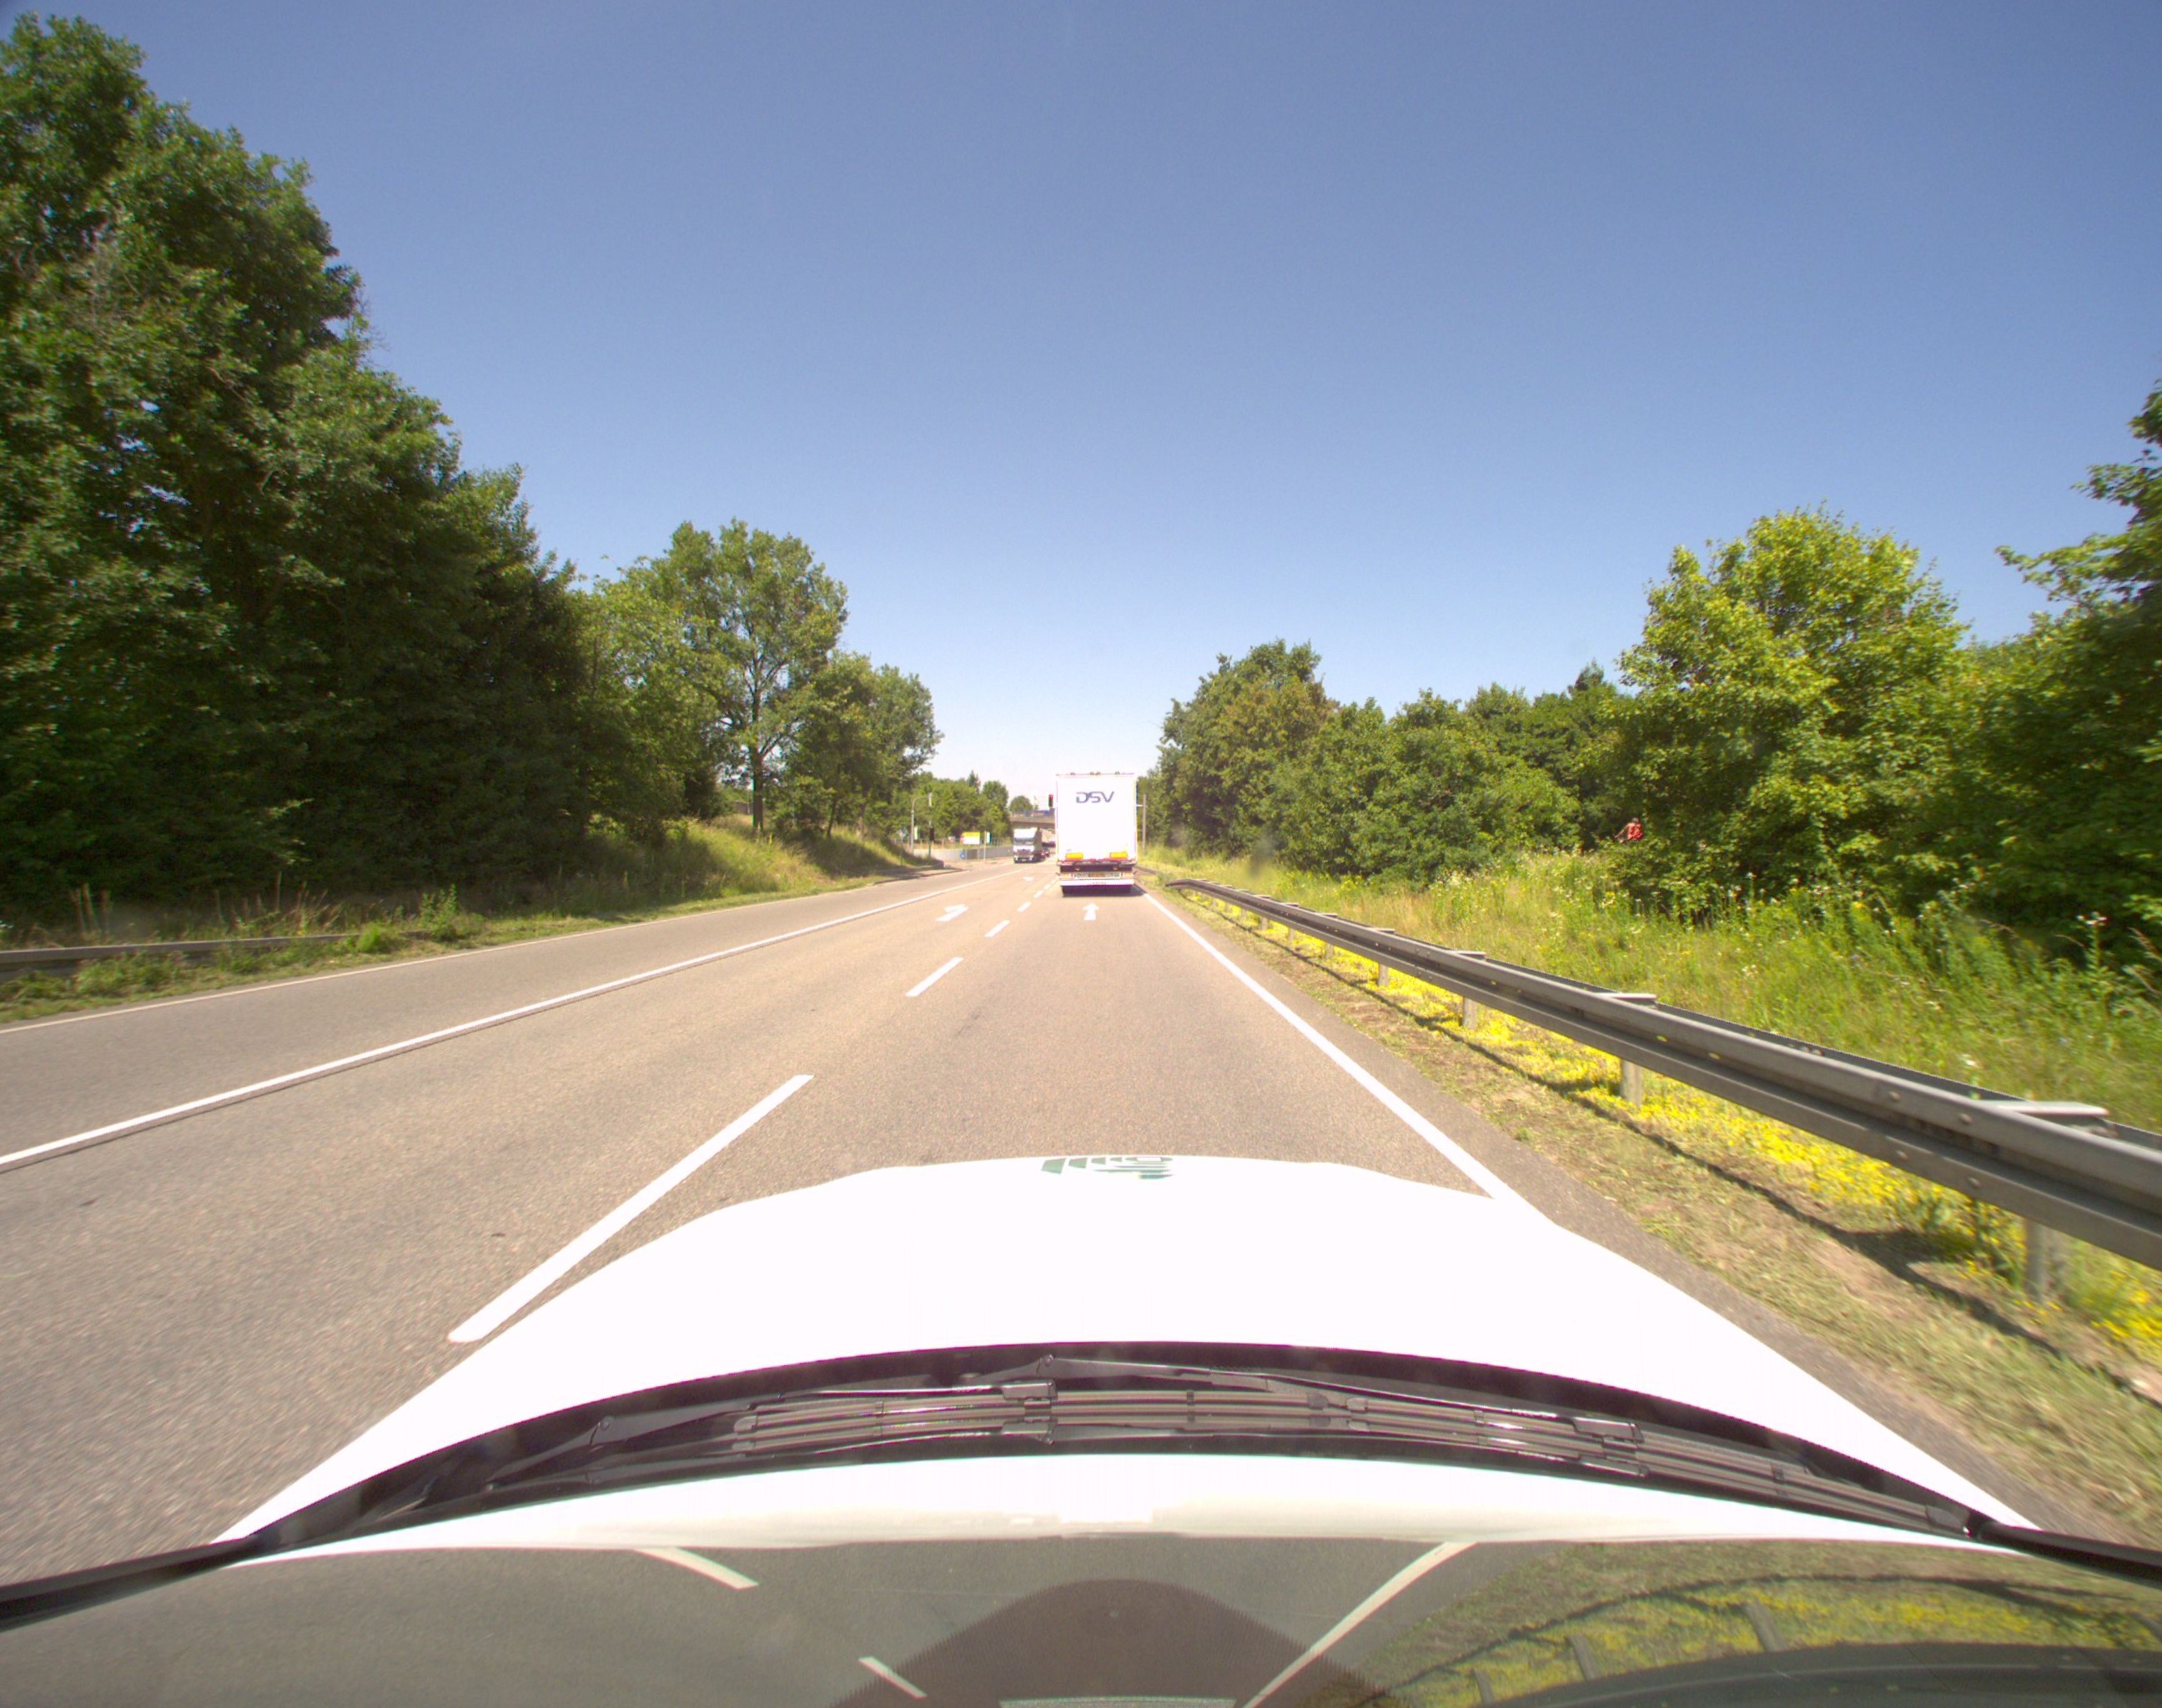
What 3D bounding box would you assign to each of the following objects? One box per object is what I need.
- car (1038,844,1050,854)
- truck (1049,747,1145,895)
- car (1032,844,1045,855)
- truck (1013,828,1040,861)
[{"bbox_3d":[-6.187,-0.905,135.417,1.741,1.626,3.703,-1,1,0],"label":"car"},{"bbox_3d":[0.500,-1.048,30.182,2.940,4.568,9.861,-1,0,0],"label":"truck"},{"bbox_3d":[-6.167,-0.668,118.677,1.741,1.626,3.703,-1,1,0],"label":"car"},{"bbox_3d":[-6.697,-1.181,101.380,2.345,3.749,12.627,-1,1,1],"label":"truck"}]
